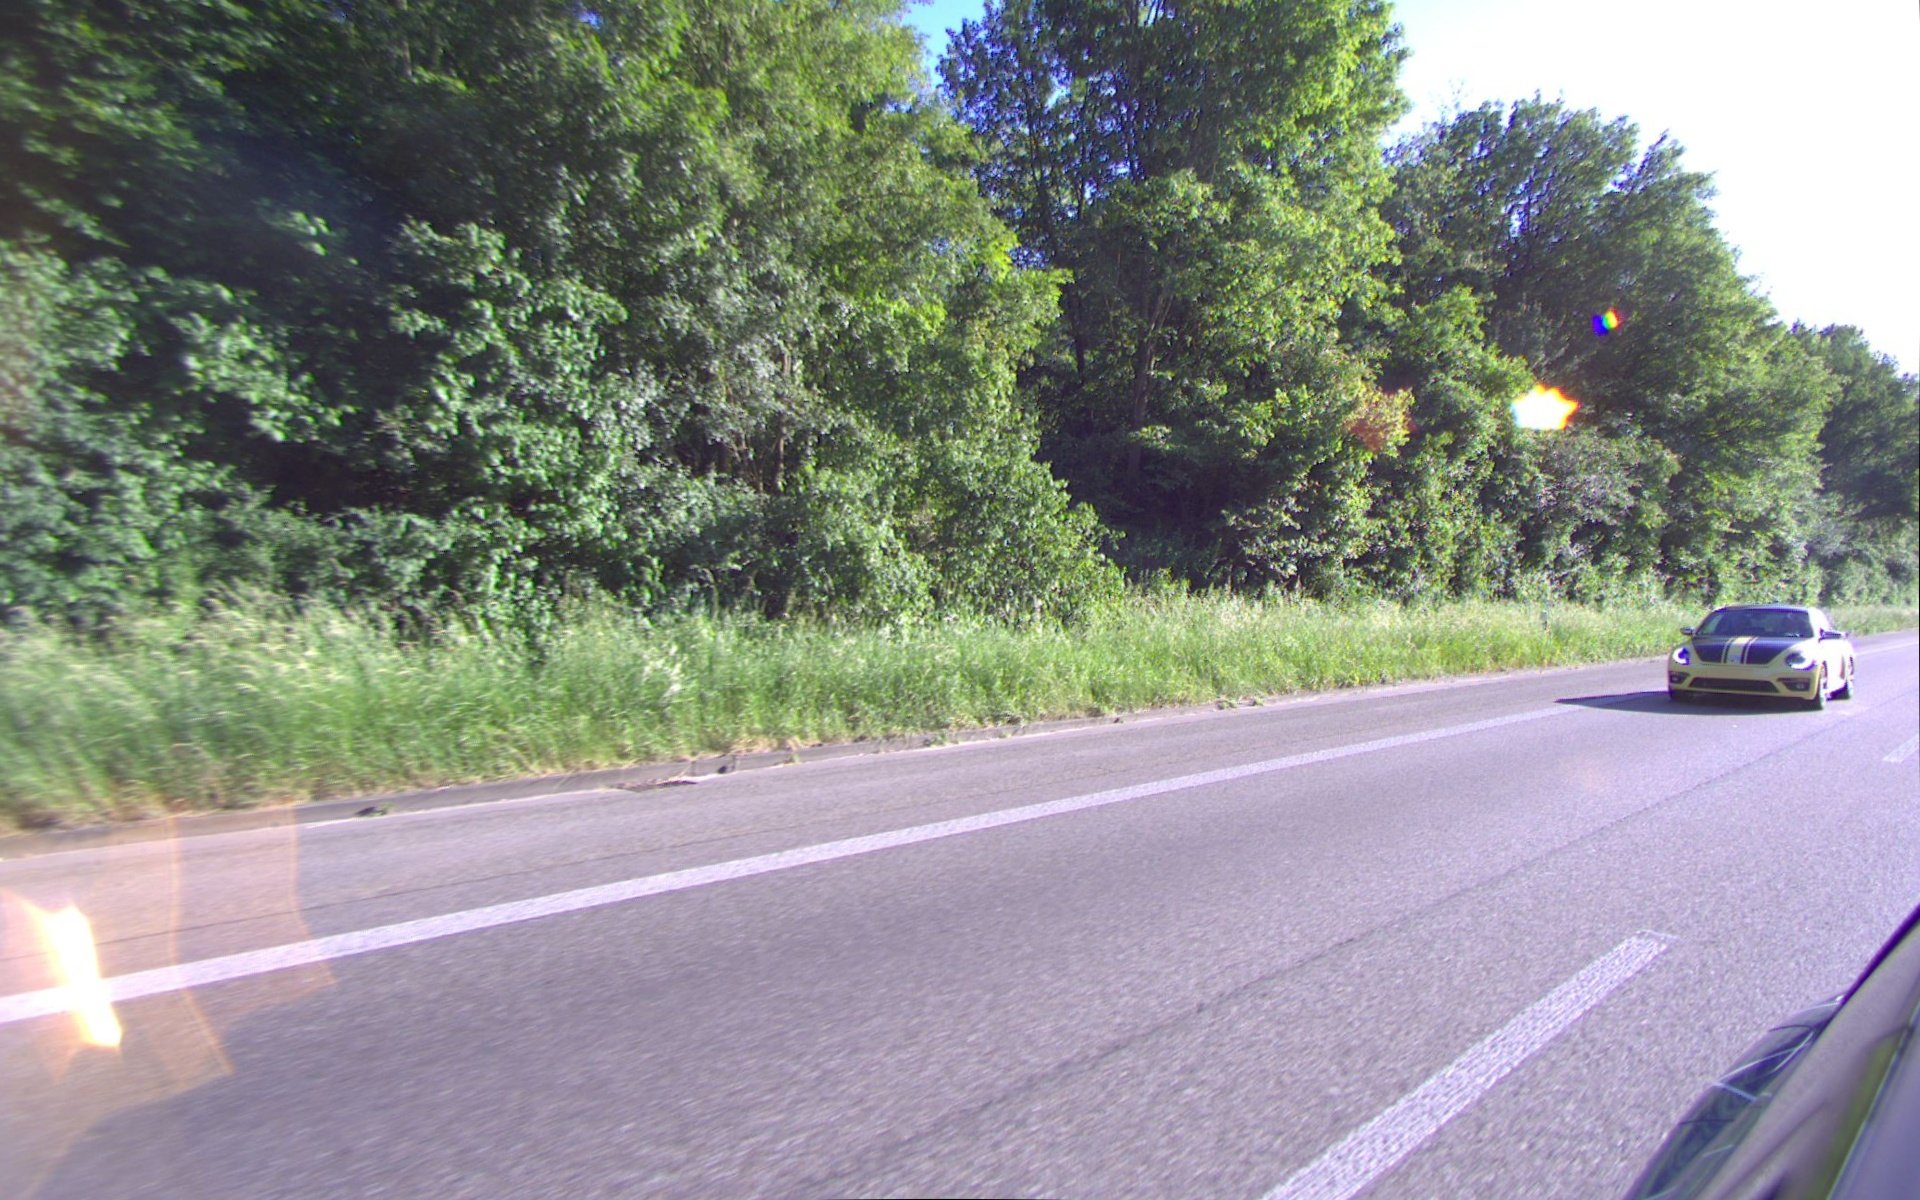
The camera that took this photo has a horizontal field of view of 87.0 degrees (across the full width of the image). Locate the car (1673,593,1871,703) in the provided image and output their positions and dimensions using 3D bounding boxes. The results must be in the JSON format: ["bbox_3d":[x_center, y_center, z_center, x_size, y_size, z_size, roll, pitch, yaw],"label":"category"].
[{"bbox_3d":[12.529,0.643,15.543,3.811,1.467,1.792,0,0,-42],"label":"car"}]
